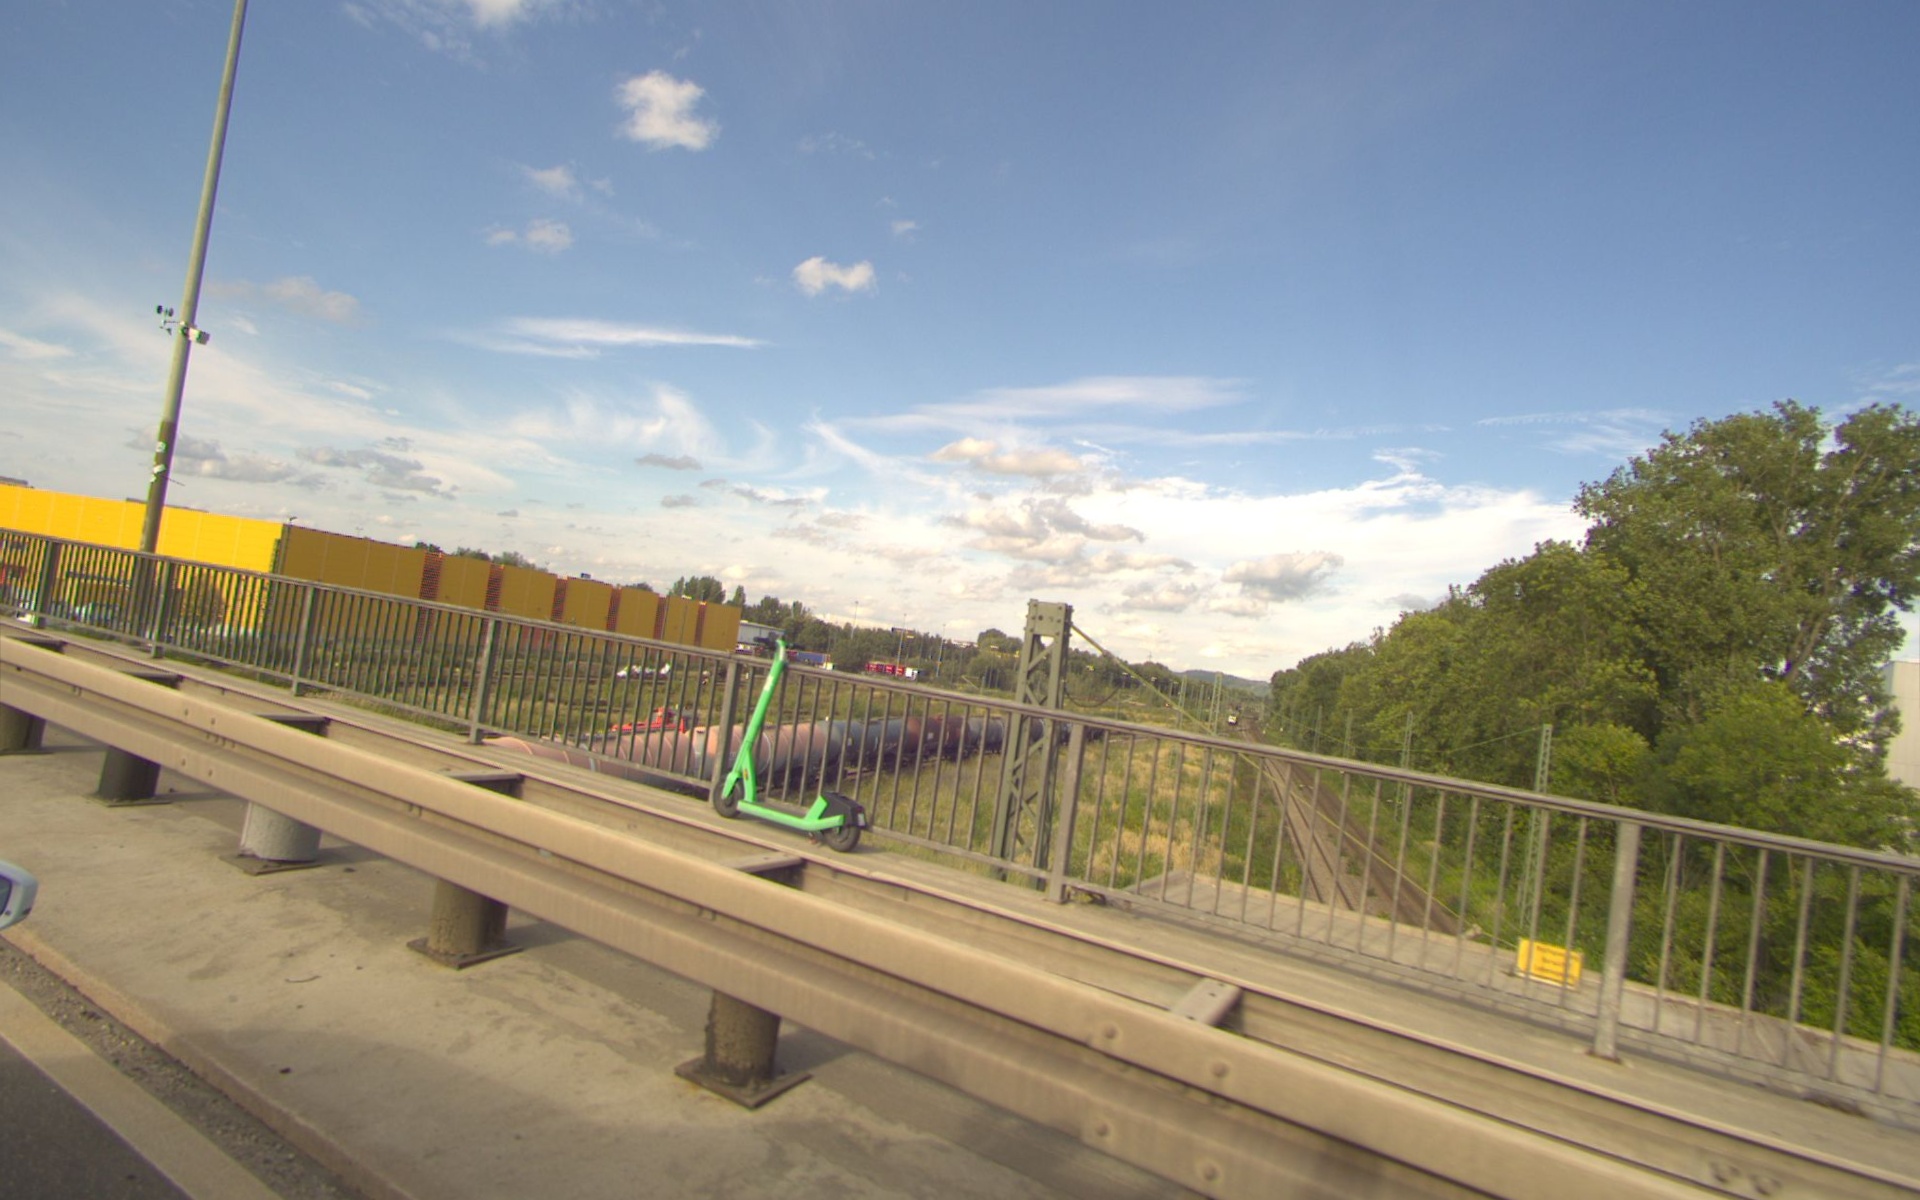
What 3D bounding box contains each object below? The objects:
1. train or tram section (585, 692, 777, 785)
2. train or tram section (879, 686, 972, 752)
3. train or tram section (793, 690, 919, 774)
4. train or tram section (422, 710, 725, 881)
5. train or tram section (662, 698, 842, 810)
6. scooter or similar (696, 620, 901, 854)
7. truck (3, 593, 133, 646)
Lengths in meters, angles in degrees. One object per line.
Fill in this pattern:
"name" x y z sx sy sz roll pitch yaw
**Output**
"train or tram section" -17.164 8.469 64.572 3.038 4.194 17.316 7 -1 15
"train or tram section" -2.814 10.697 92.986 3.038 4.768 16.761 7 -1 16
"train or tram section" -7.442 9.735 76.846 3.038 4.768 16.761 7 -1 16
"train or tram section" -15.887 7.913 44.358 3.038 4.768 16.764 7 -1 14
"train or tram section" -11.827 8.803 60.603 3.038 4.768 16.763 7 -1 15
"scooter or similar" -0.980 0.778 5.987 1.168 1.176 0.266 7 0 30
"truck" -72.055 1.648 81.465 2.616 3.660 7.238 9 -1 17
